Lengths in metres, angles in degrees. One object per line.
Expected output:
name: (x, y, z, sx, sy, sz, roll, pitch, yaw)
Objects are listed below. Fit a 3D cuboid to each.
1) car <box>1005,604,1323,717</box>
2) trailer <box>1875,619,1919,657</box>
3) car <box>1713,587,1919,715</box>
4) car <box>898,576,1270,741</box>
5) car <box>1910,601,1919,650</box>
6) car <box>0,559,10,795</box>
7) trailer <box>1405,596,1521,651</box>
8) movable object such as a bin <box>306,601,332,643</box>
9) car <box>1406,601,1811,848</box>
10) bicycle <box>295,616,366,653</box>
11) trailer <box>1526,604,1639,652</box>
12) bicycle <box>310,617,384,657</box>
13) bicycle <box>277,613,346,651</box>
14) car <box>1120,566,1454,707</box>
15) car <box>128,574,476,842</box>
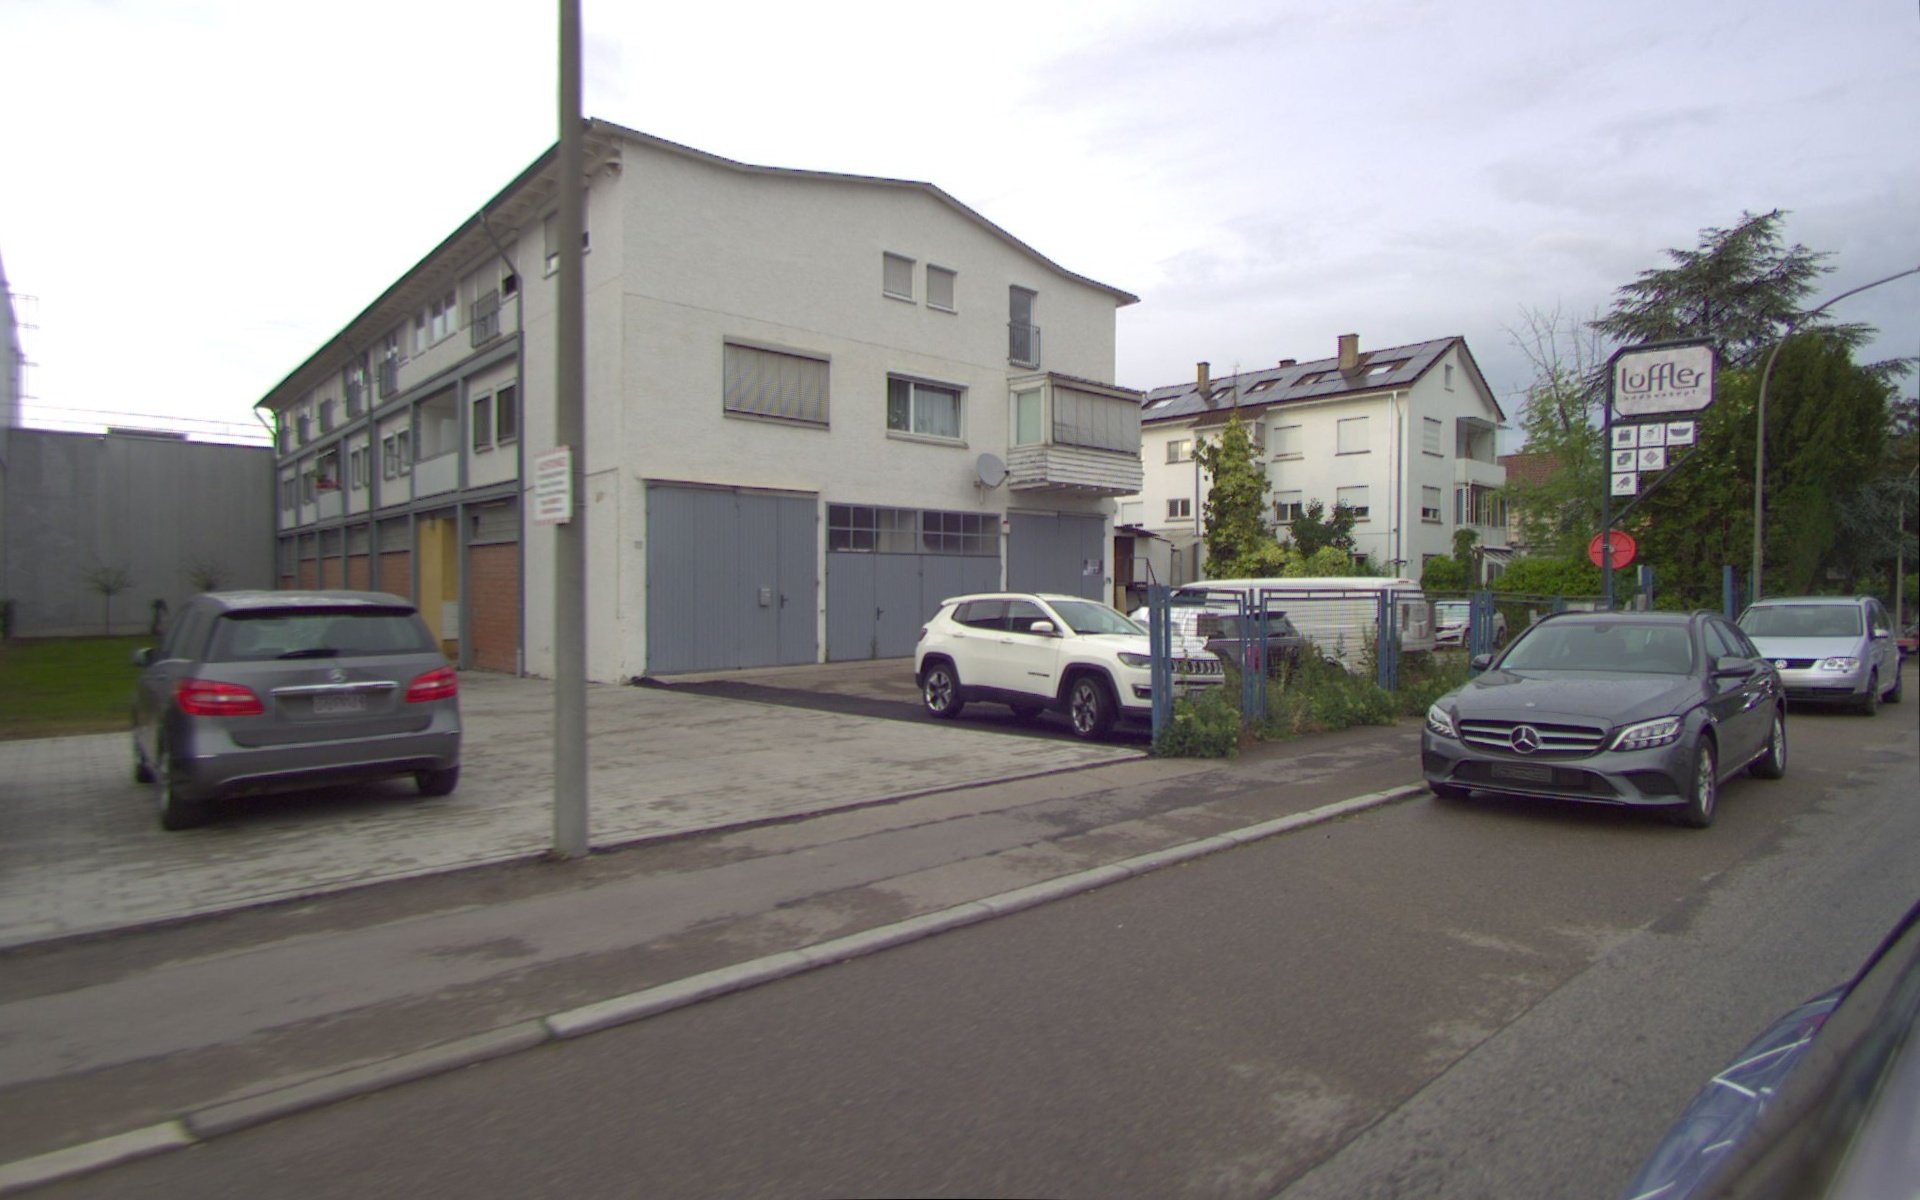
car: (2.811, 0.763, 14.734, 1.818, 1.396, 4.325, 0, 0, -42)
trailer: (26.057, 0.973, 26.691, 6.521, 0.909, 2.176, 1, -1, -42)
car: (12.874, 0.653, 15.045, 4.295, 1.642, 1.742, 0, 0, -40)
car: (1.312, 0.594, 12.386, 1.860, 1.645, 4.453, 0, 0, -40)
car: (30.682, 0.723, 30.978, 4.566, 1.451, 1.743, 0, -2, -40)
car: (-7.094, 0.556, 6.023, 1.947, 1.696, 4.232, 0, 0, -41)
trailer: (15.662, 0.660, 31.423, 4.726, 1.539, 1.770, 0, 1, -44)
movable object such as a bin: (-21.884, 0.749, 34.534, 0.710, 1.399, 0.409, 0, -1, -39)
car: (5.500, 0.760, 8.312, 4.469, 1.485, 1.740, 0, 0, -43)
bicycle: (-18.934, 1.018, 30.458, 1.785, 1.073, 0.679, 0, -1, -32)
trailer: (18.137, 0.772, 29.447, 3.821, 1.291, 1.619, 0, 0, -39)
bicycle: (-17.437, 1.031, 28.829, 1.785, 1.073, 0.679, 0, -1, -32)
bicycle: (-20.157, 0.979, 31.488, 1.785, 1.133, 0.679, 0, -1, -32)
car: (5.009, 0.502, 16.097, 1.965, 1.910, 4.739, 0, 0, -41)
car: (-5.441, 0.662, 8.099, 1.780, 1.555, 4.249, 0, -1, -41)
